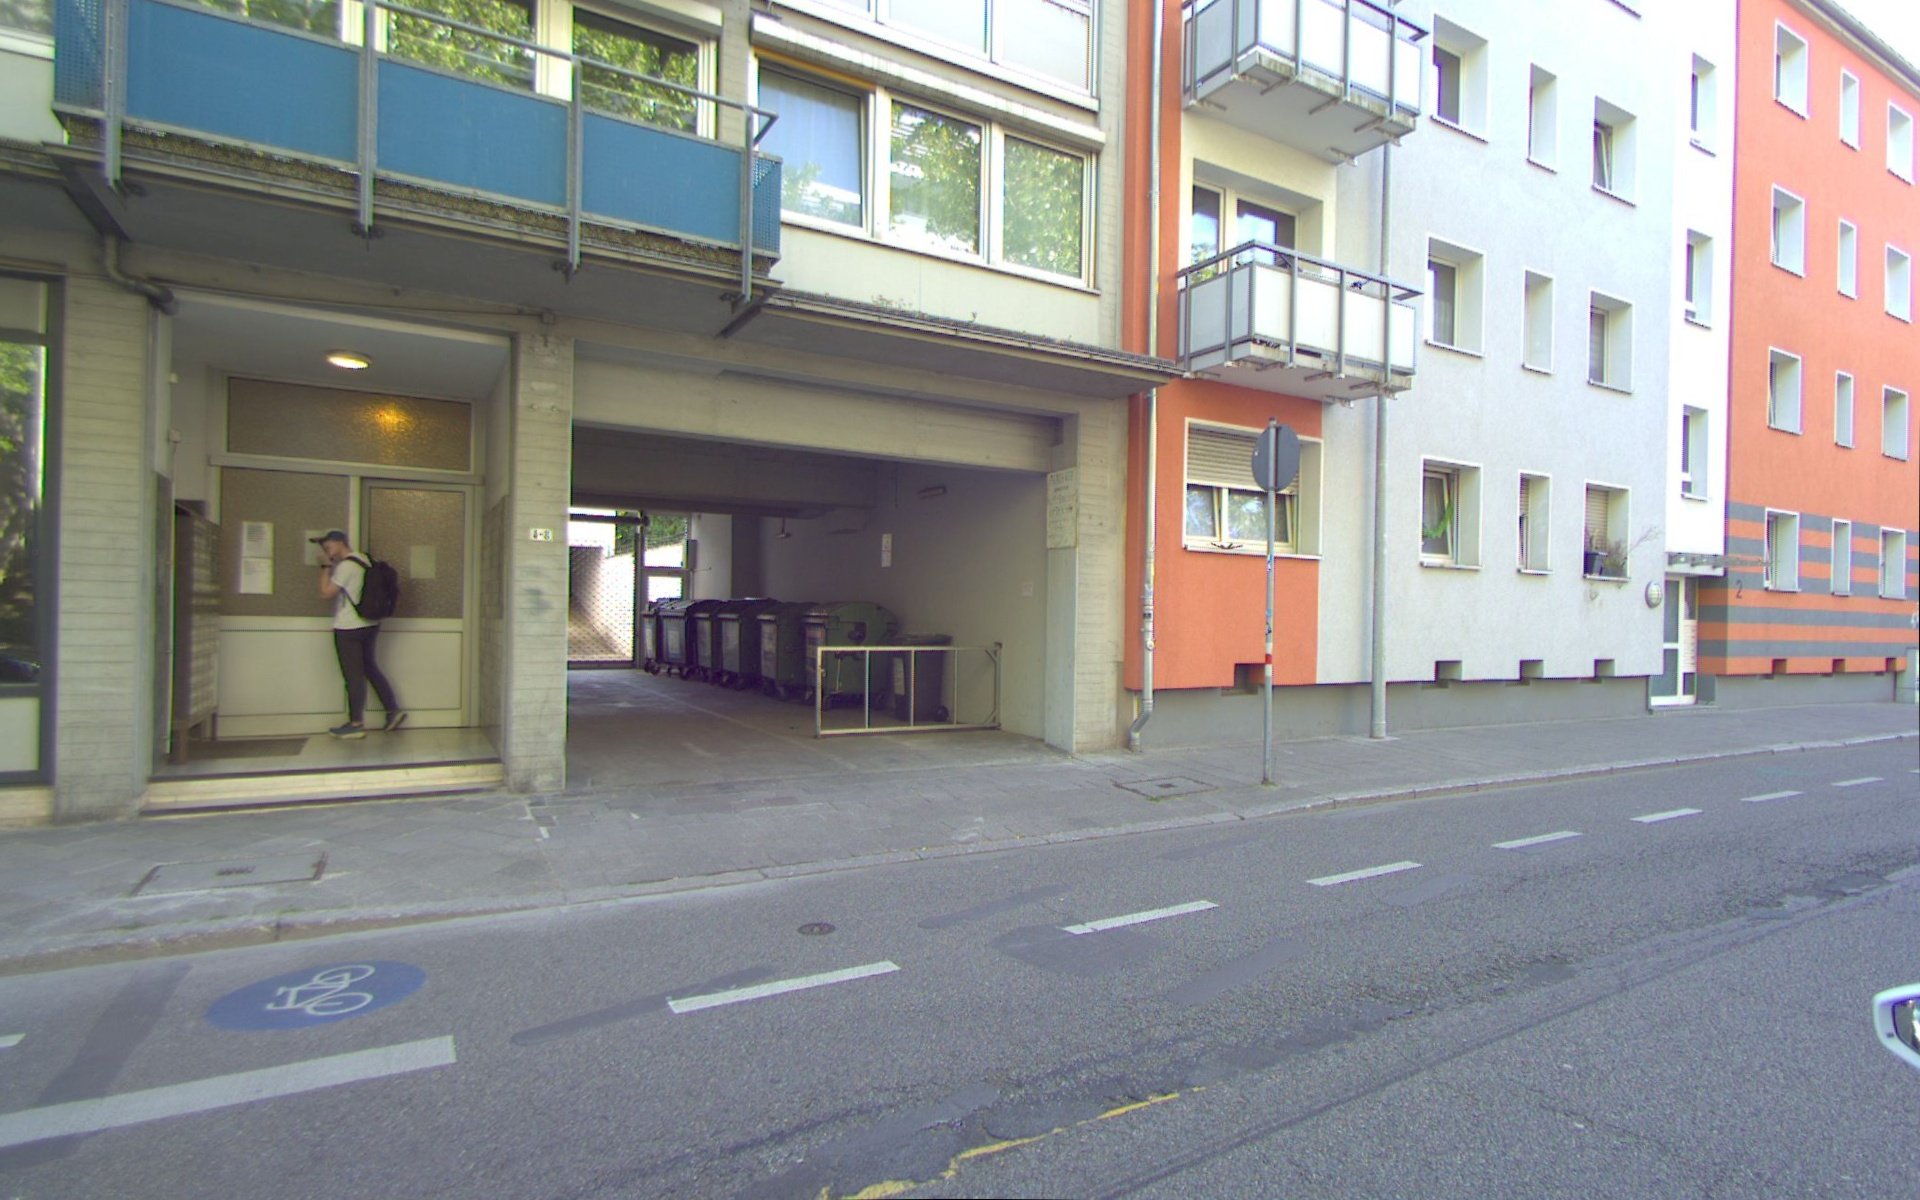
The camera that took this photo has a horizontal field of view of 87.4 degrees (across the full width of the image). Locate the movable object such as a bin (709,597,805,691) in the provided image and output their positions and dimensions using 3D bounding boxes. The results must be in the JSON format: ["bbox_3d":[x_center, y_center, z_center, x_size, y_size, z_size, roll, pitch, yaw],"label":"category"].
[{"bbox_3d":[-3.369,0.707,16.617,1.186,1.467,1.319,2,0,-30],"label":"movable object such as a bin"}]

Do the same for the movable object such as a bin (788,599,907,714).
[{"bbox_3d":[-1.562,0.747,13.800,1.159,1.467,1.319,2,0,-30],"label":"movable object such as a bin"}]

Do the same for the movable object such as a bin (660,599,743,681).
[{"bbox_3d":[-4.839,0.730,18.751,1.186,1.467,1.222,2,0,-30],"label":"movable object such as a bin"}]

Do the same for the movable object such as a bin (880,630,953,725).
[{"bbox_3d":[-0.535,0.947,12.408,0.745,1.116,0.463,2,0,-30],"label":"movable object such as a bin"}]

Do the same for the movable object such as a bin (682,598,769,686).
[{"bbox_3d":[-4.140,0.728,17.708,1.186,1.467,1.114,2,0,-30],"label":"movable object such as a bin"}]

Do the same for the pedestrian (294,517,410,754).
[{"bbox_3d":[-5.170,0.292,8.547,0.778,1.904,0.576,2,0,-34],"label":"pedestrian"}]

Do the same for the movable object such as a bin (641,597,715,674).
[{"bbox_3d":[-5.615,0.694,19.980,1.186,1.467,1.027,2,0,-30],"label":"movable object such as a bin"}]

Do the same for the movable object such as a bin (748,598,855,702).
[{"bbox_3d":[-2.403,0.729,15.133,1.186,1.467,1.319,2,0,-30],"label":"movable object such as a bin"}]
